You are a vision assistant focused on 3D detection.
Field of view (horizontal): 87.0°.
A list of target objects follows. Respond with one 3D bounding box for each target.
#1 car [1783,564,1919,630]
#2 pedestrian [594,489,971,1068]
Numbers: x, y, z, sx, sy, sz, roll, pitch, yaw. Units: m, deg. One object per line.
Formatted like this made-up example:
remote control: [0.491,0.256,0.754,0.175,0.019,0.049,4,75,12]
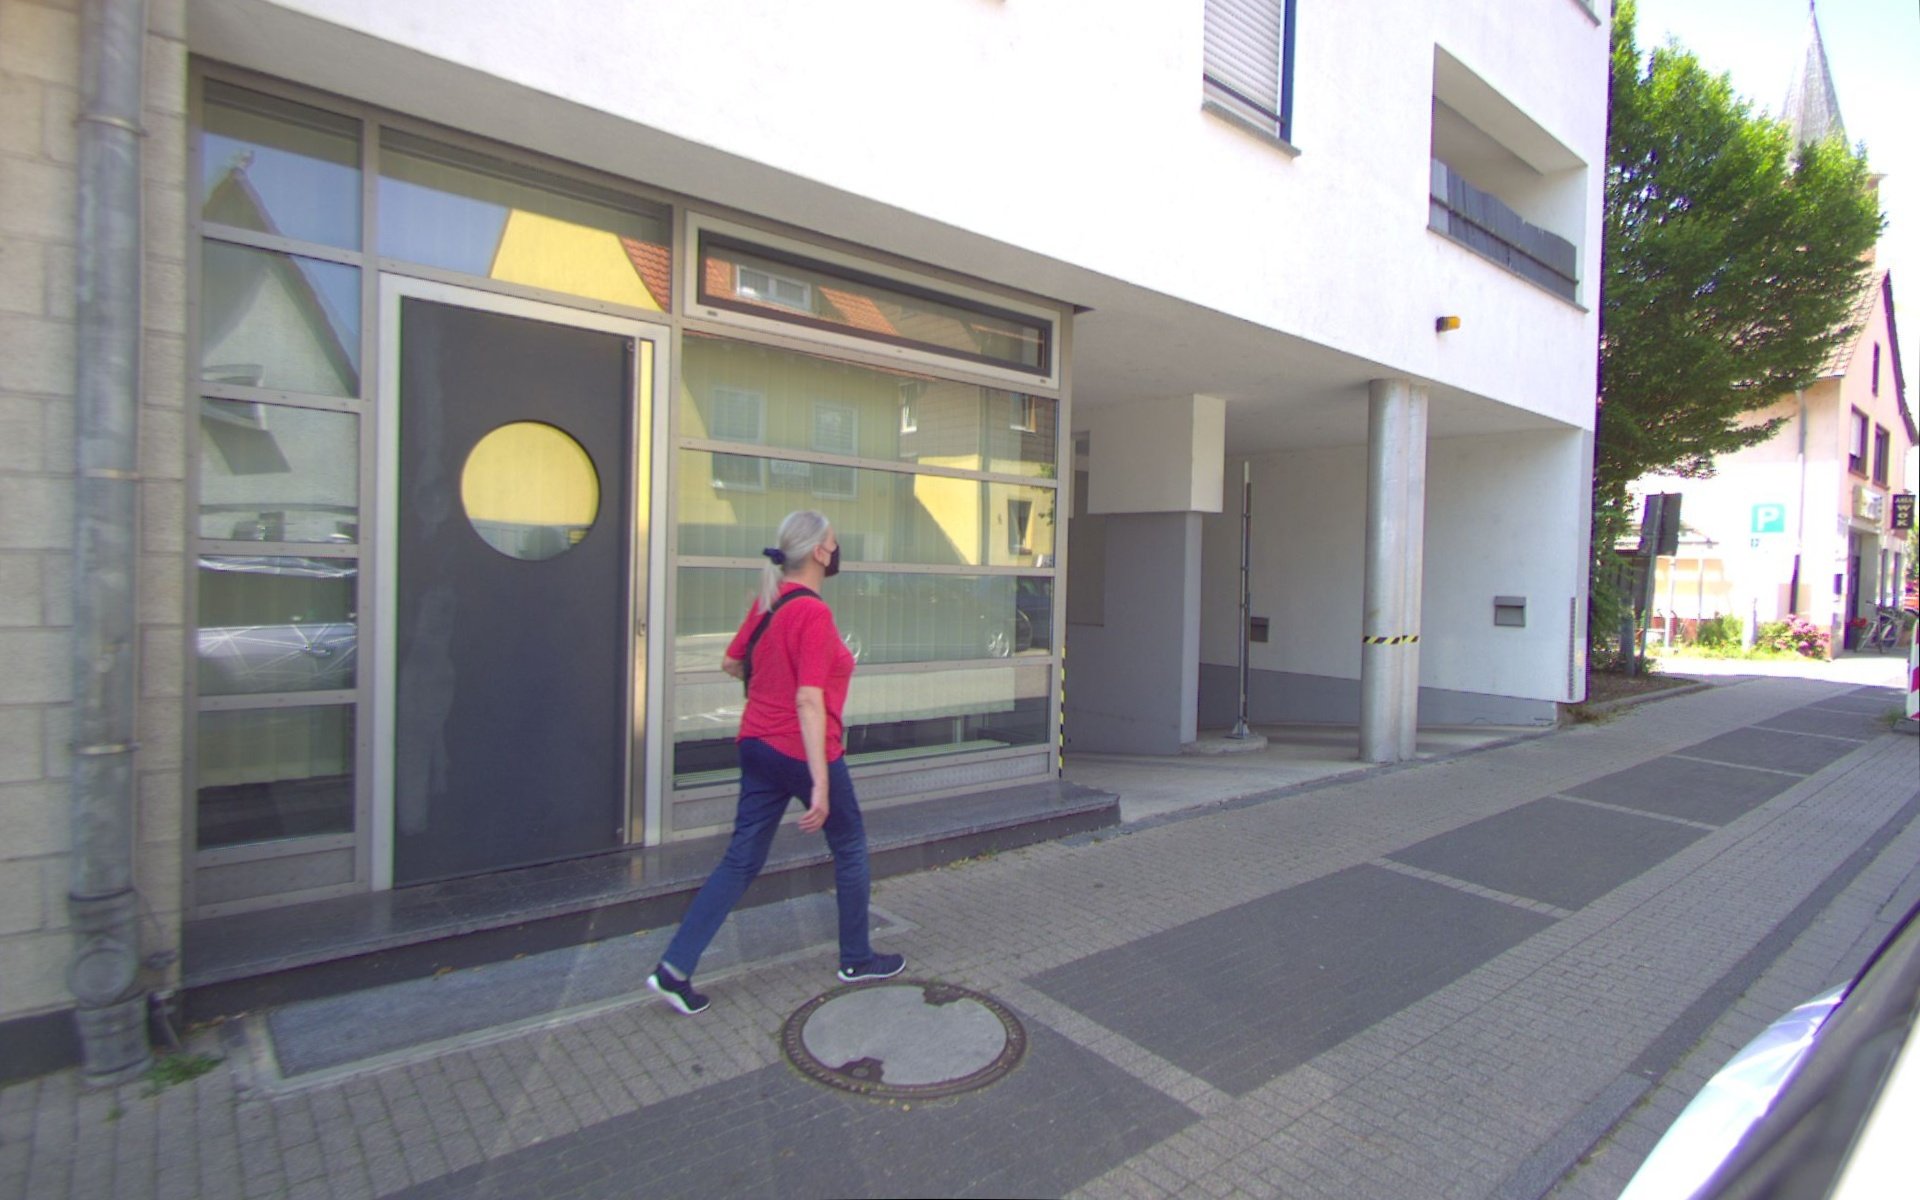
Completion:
car: [28.290,-0.101,31.197,1.965,1.882,4.202,0,3,-40]
pedestrian: [-0.607,0.467,3.384,0.903,1.607,0.826,0,4,-40]
